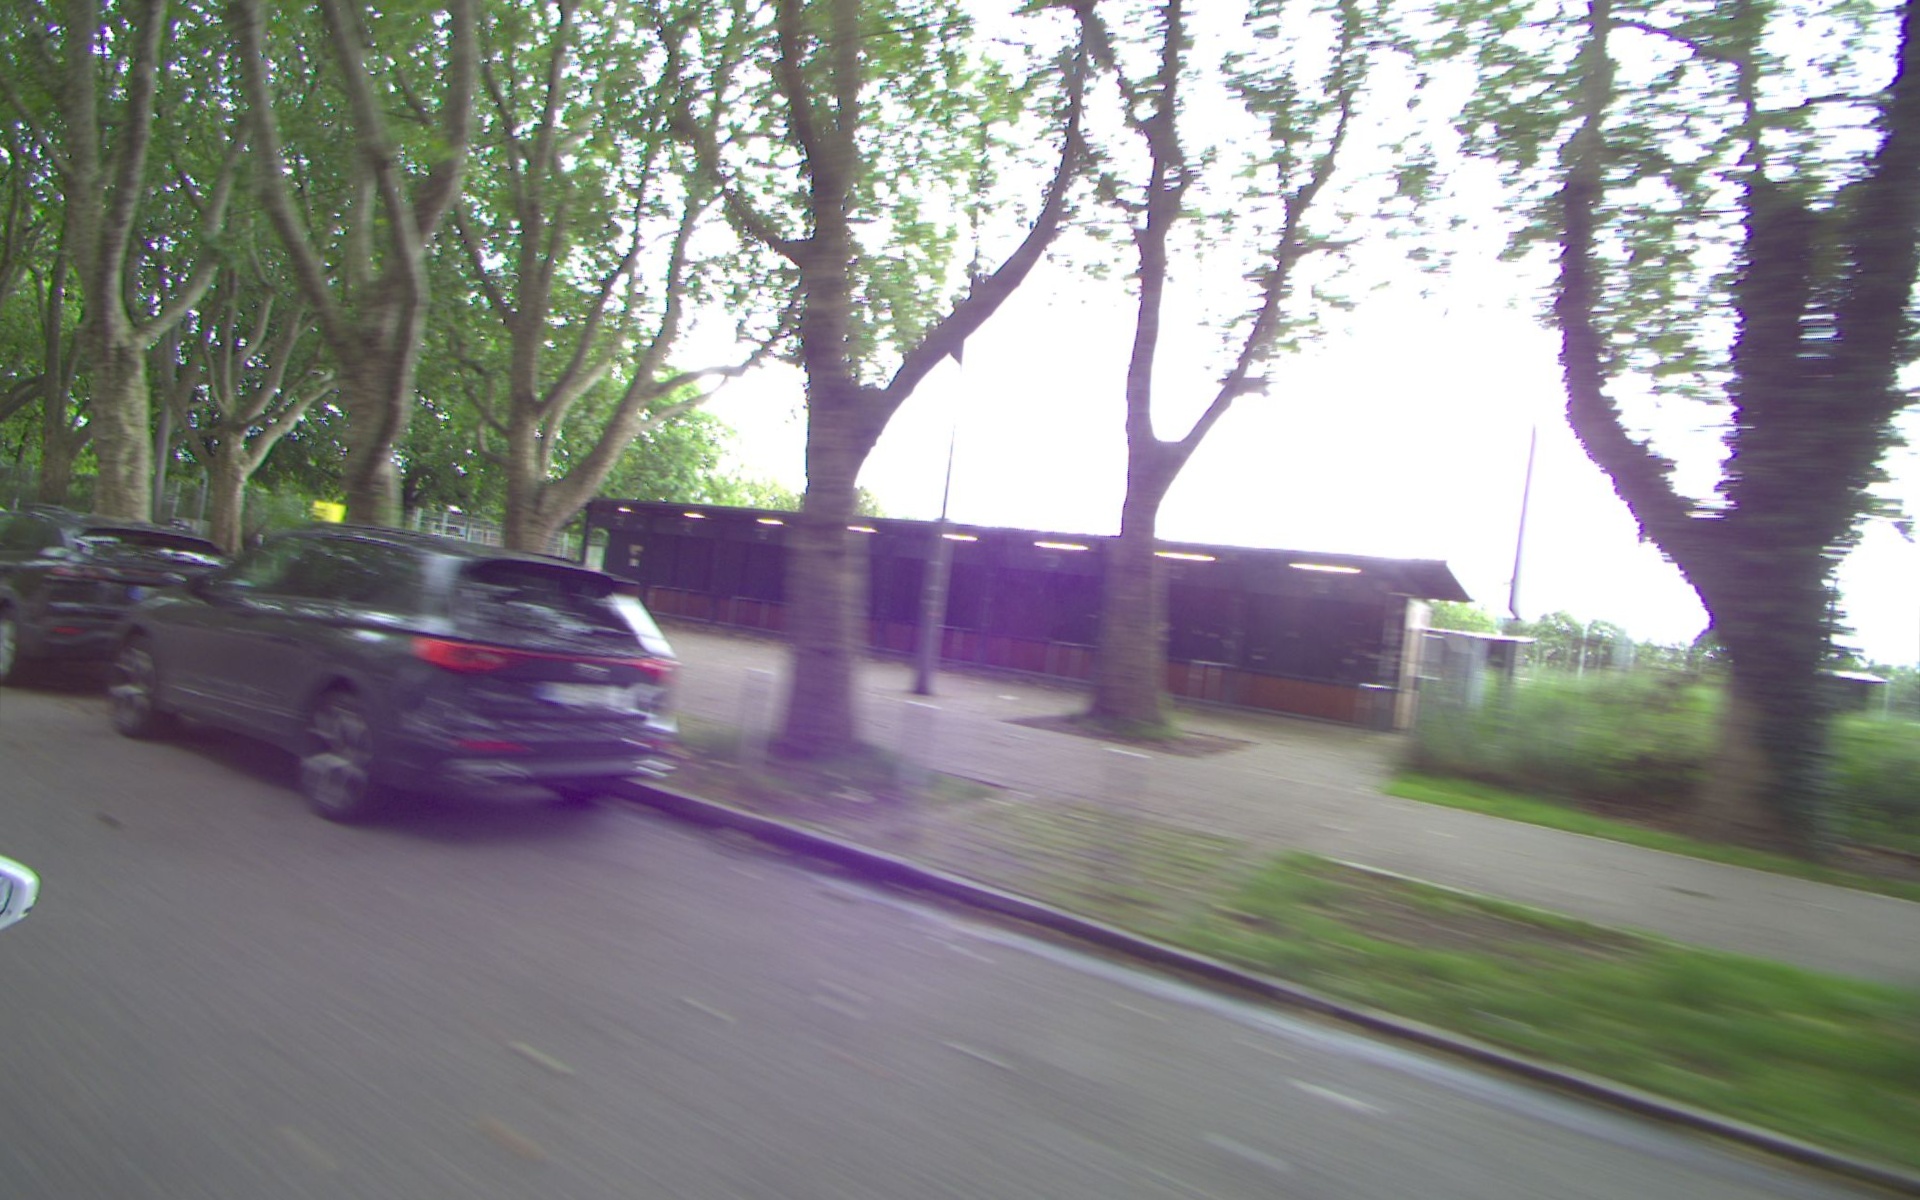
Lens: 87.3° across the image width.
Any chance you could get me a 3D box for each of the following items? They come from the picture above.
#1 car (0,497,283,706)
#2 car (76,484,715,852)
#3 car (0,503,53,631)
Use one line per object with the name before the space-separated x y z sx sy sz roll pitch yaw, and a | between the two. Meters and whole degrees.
car | -8.537 -0.108 9.629 4.282 1.526 1.672 7 -2 32
car | -3.973 0.299 6.855 4.365 1.638 1.759 7 -2 32
car | -13.093 -0.638 12.538 3.649 1.457 1.620 7 -3 33
